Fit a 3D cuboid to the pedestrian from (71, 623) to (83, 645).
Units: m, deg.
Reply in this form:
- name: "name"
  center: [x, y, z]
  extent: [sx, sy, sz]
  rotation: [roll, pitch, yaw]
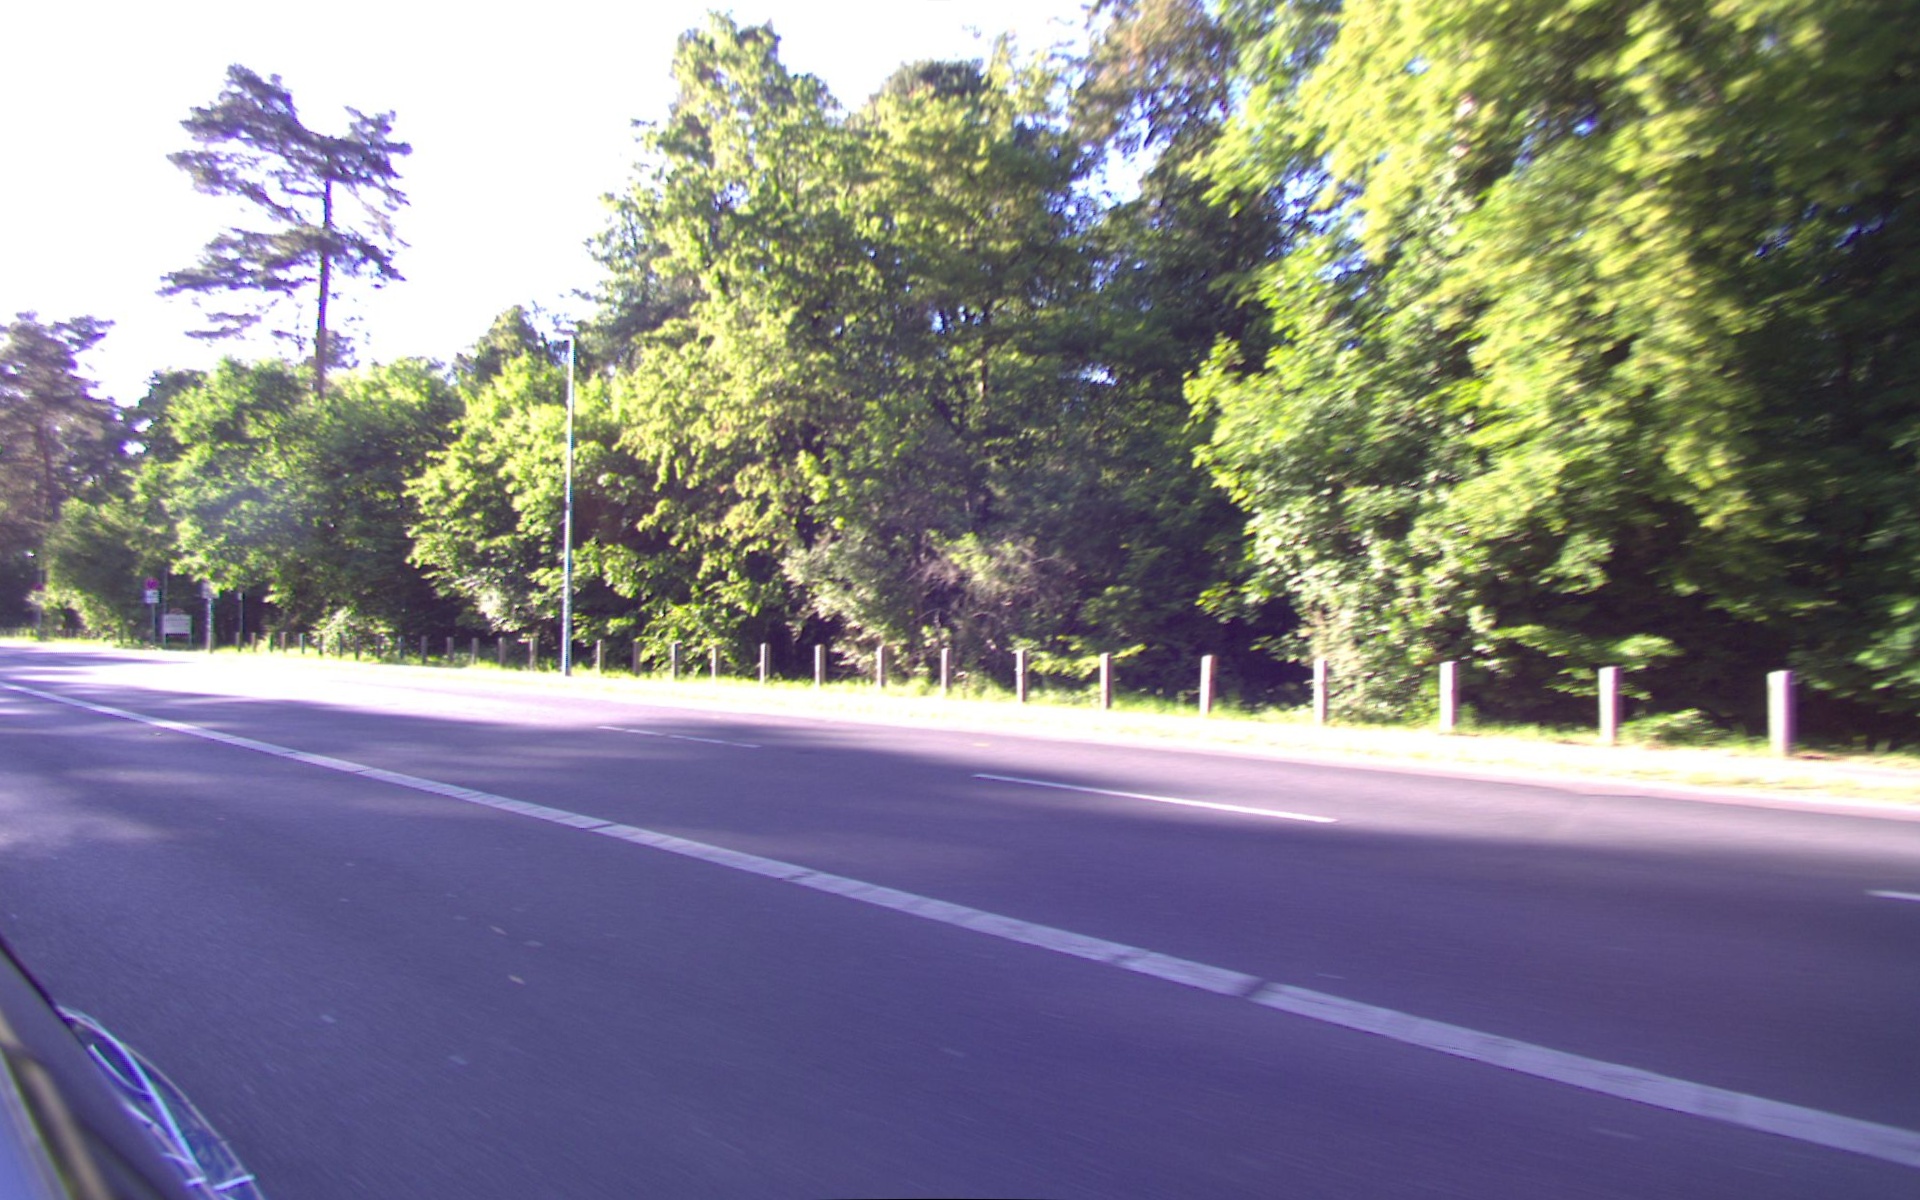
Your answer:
- name: "pedestrian"
  center: [-55.602, 2.133, 63.718]
  extent: [0.512, 1.325, 0.466]
  rotation: [-1, -2, 38]
